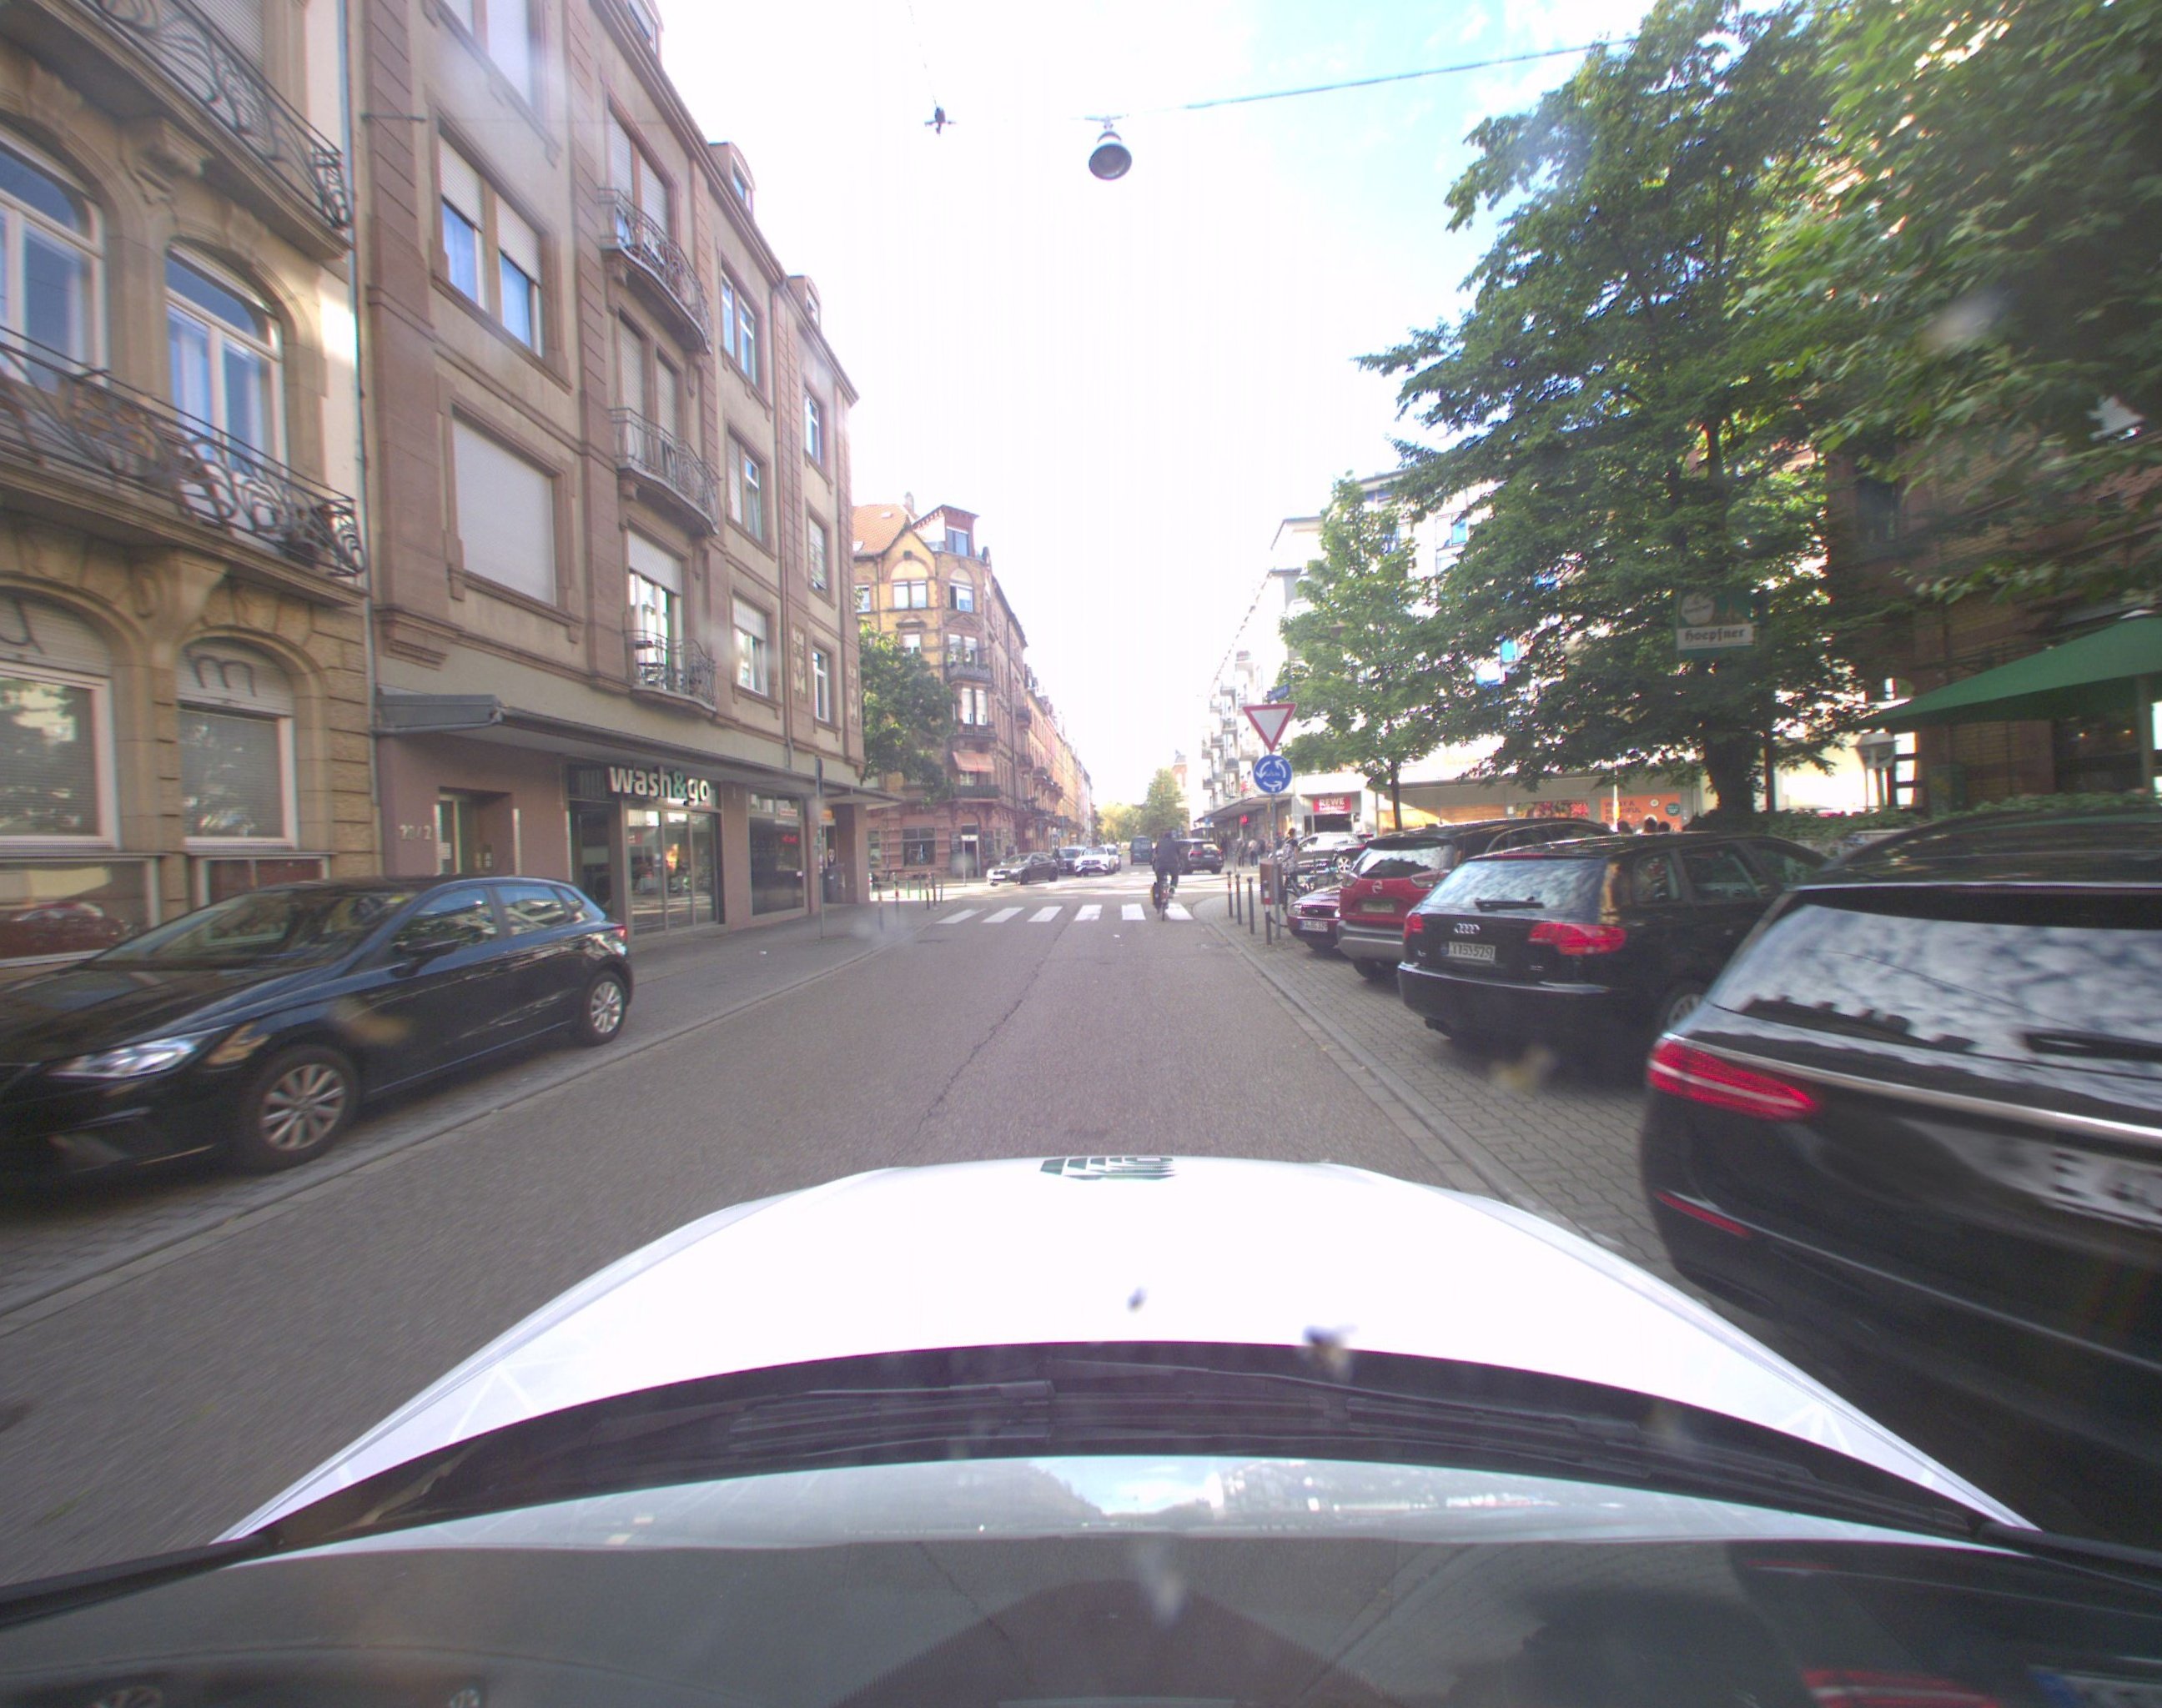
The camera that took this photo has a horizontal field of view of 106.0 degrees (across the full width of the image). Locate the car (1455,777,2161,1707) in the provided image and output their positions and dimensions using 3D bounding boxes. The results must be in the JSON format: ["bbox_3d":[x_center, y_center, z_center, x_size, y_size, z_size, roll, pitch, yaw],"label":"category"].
[{"bbox_3d":[3.777,0.511,2.617,4.777,1.456,2.040,-5,2,-25],"label":"car"}]

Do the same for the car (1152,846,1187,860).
[{"bbox_3d":[10.811,-0.175,99.634,3.973,1.486,2.000,-3,0,1],"label":"car"}]

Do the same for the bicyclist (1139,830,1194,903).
[{"bbox_3d":[1.794,0.255,17.016,0.925,1.484,0.751,-1,0,24],"label":"bicyclist"}]

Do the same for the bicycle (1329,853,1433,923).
[{"bbox_3d":[4.875,0.546,13.371,0.348,1.040,1.842,-6,1,-23],"label":"bicycle"}]

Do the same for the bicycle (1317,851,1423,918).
[{"bbox_3d":[4.955,0.527,14.103,0.446,1.040,1.889,-6,1,-26],"label":"bicycle"}]

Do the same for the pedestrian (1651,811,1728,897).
[{"bbox_3d":[10.144,-0.001,13.606,0.670,1.358,0.758,-3,0,-1],"label":"pedestrian"}]

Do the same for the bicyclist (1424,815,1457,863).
[{"bbox_3d":[12.838,-0.530,29.091,1.004,1.668,0.949,-3,0,25],"label":"bicyclist"}]

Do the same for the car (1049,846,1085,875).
[{"bbox_3d":[-0.889,0.397,53.801,1.773,1.724,4.453,-1,2,6],"label":"car"}]

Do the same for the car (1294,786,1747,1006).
[{"bbox_3d":[4.632,0.296,8.566,4.360,1.644,1.807,-5,1,-23],"label":"car"}]

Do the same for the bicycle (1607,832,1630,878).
[{"bbox_3d":[14.269,0.040,21.613,0.424,1.156,2.010,-3,-2,35],"label":"bicycle"}]

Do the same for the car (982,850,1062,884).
[{"bbox_3d":[-2.582,0.557,36.676,1.734,1.436,4.236,-2,0,25],"label":"car"}]

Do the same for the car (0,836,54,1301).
[{"bbox_3d":[-4.841,0.791,0.610,1.783,1.628,4.852,-3,0,3],"label":"car"}]

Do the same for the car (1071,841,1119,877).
[{"bbox_3d":[0.891,0.215,46.370,1.931,1.721,4.863,-4,2,9],"label":"car"}]

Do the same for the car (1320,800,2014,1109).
[{"bbox_3d":[4.156,0.462,5.820,4.418,1.457,1.929,-3,0,-22],"label":"car"}]

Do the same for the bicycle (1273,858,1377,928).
[{"bbox_3d":[4.015,0.642,13.568,0.462,1.040,1.841,-6,1,-26],"label":"bicycle"}]

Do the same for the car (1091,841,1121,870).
[{"bbox_3d":[1.806,0.083,57.191,1.784,1.790,4.742,-4,0,5],"label":"car"}]

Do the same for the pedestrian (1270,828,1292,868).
[{"bbox_3d":[9.489,-0.287,38.637,0.864,1.851,0.614,-3,0,8],"label":"pedestrian"}]

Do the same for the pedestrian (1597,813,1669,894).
[{"bbox_3d":[10.067,-0.007,14.880,0.795,1.406,0.702,-3,0,-1],"label":"pedestrian"}]

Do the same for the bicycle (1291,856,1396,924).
[{"bbox_3d":[4.373,0.600,13.730,0.348,1.040,2.002,-6,1,-23],"label":"bicycle"}]

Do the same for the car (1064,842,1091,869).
[{"bbox_3d":[-0.239,0.131,66.014,1.986,2.013,4.001,-3,0,1],"label":"car"}]

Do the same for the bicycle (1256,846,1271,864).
[{"bbox_3d":[10.526,0.048,47.007,0.362,1.016,1.429,-3,0,-4],"label":"bicycle"}]

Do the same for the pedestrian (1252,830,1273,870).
[{"bbox_3d":[8.636,-0.212,38.784,0.864,1.851,0.614,-3,0,8],"label":"pedestrian"}]

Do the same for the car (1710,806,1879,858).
[{"bbox_3d":[23.586,-0.682,27.141,1.990,1.510,3.994,-3,0,-4],"label":"car"}]

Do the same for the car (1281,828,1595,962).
[{"bbox_3d":[4.911,0.464,11.191,3.951,1.457,1.755,-3,0,-25],"label":"car"}]

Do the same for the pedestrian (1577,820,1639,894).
[{"bbox_3d":[10.057,0.058,15.563,0.754,1.342,0.596,-3,0,-1],"label":"pedestrian"}]

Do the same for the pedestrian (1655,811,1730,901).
[{"bbox_3d":[9.652,0.030,12.870,0.667,1.351,0.628,-3,0,-1],"label":"pedestrian"}]

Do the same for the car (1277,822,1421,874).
[{"bbox_3d":[10.157,-0.199,31.194,2.054,1.724,4.788,-5,2,-40],"label":"car"}]

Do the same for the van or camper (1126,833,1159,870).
[{"bbox_3d":[5.459,-0.228,72.653,2.522,3.037,4.460,-3,0,1],"label":"van or camper"}]

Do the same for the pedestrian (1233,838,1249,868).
[{"bbox_3d":[8.995,-0.058,45.740,0.739,1.629,0.815,-3,0,14],"label":"pedestrian"}]

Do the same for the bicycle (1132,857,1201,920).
[{"bbox_3d":[1.824,0.681,17.025,0.660,1.178,2.511,-1,0,24],"label":"bicycle"}]

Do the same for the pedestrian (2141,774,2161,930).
[{"bbox_3d":[11.190,-0.032,8.048,0.626,1.570,0.570,-3,0,-1],"label":"pedestrian"}]

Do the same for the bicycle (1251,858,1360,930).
[{"bbox_3d":[3.612,0.634,13.261,0.551,1.040,1.841,-6,1,-26],"label":"bicycle"}]

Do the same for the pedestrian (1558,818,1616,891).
[{"bbox_3d":[10.028,0.015,16.150,0.754,1.392,0.549,-3,0,-1],"label":"pedestrian"}]

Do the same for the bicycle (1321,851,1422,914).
[{"bbox_3d":[5.176,0.514,14.650,0.390,1.040,1.904,-6,1,-26],"label":"bicycle"}]

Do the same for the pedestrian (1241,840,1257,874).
[{"bbox_3d":[8.824,0.148,42.767,0.735,1.712,0.736,-3,0,14],"label":"pedestrian"}]

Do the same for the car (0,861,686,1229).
[{"bbox_3d":[-4.805,0.839,5.493,1.985,1.420,4.247,-3,0,3],"label":"car"}]

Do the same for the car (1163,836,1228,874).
[{"bbox_3d":[5.355,0.066,38.657,1.993,1.618,3.988,-3,0,-8],"label":"car"}]

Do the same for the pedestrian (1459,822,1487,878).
[{"bbox_3d":[12.534,-0.133,26.049,0.624,1.739,0.779,-3,0,15],"label":"pedestrian"}]

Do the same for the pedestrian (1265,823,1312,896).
[{"bbox_3d":[5.205,0.141,20.450,0.774,1.779,0.798,-3,0,41],"label":"pedestrian"}]

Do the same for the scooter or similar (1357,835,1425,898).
[{"bbox_3d":[6.603,0.275,17.339,1.233,1.274,0.669,-3,0,27],"label":"scooter or similar"}]
